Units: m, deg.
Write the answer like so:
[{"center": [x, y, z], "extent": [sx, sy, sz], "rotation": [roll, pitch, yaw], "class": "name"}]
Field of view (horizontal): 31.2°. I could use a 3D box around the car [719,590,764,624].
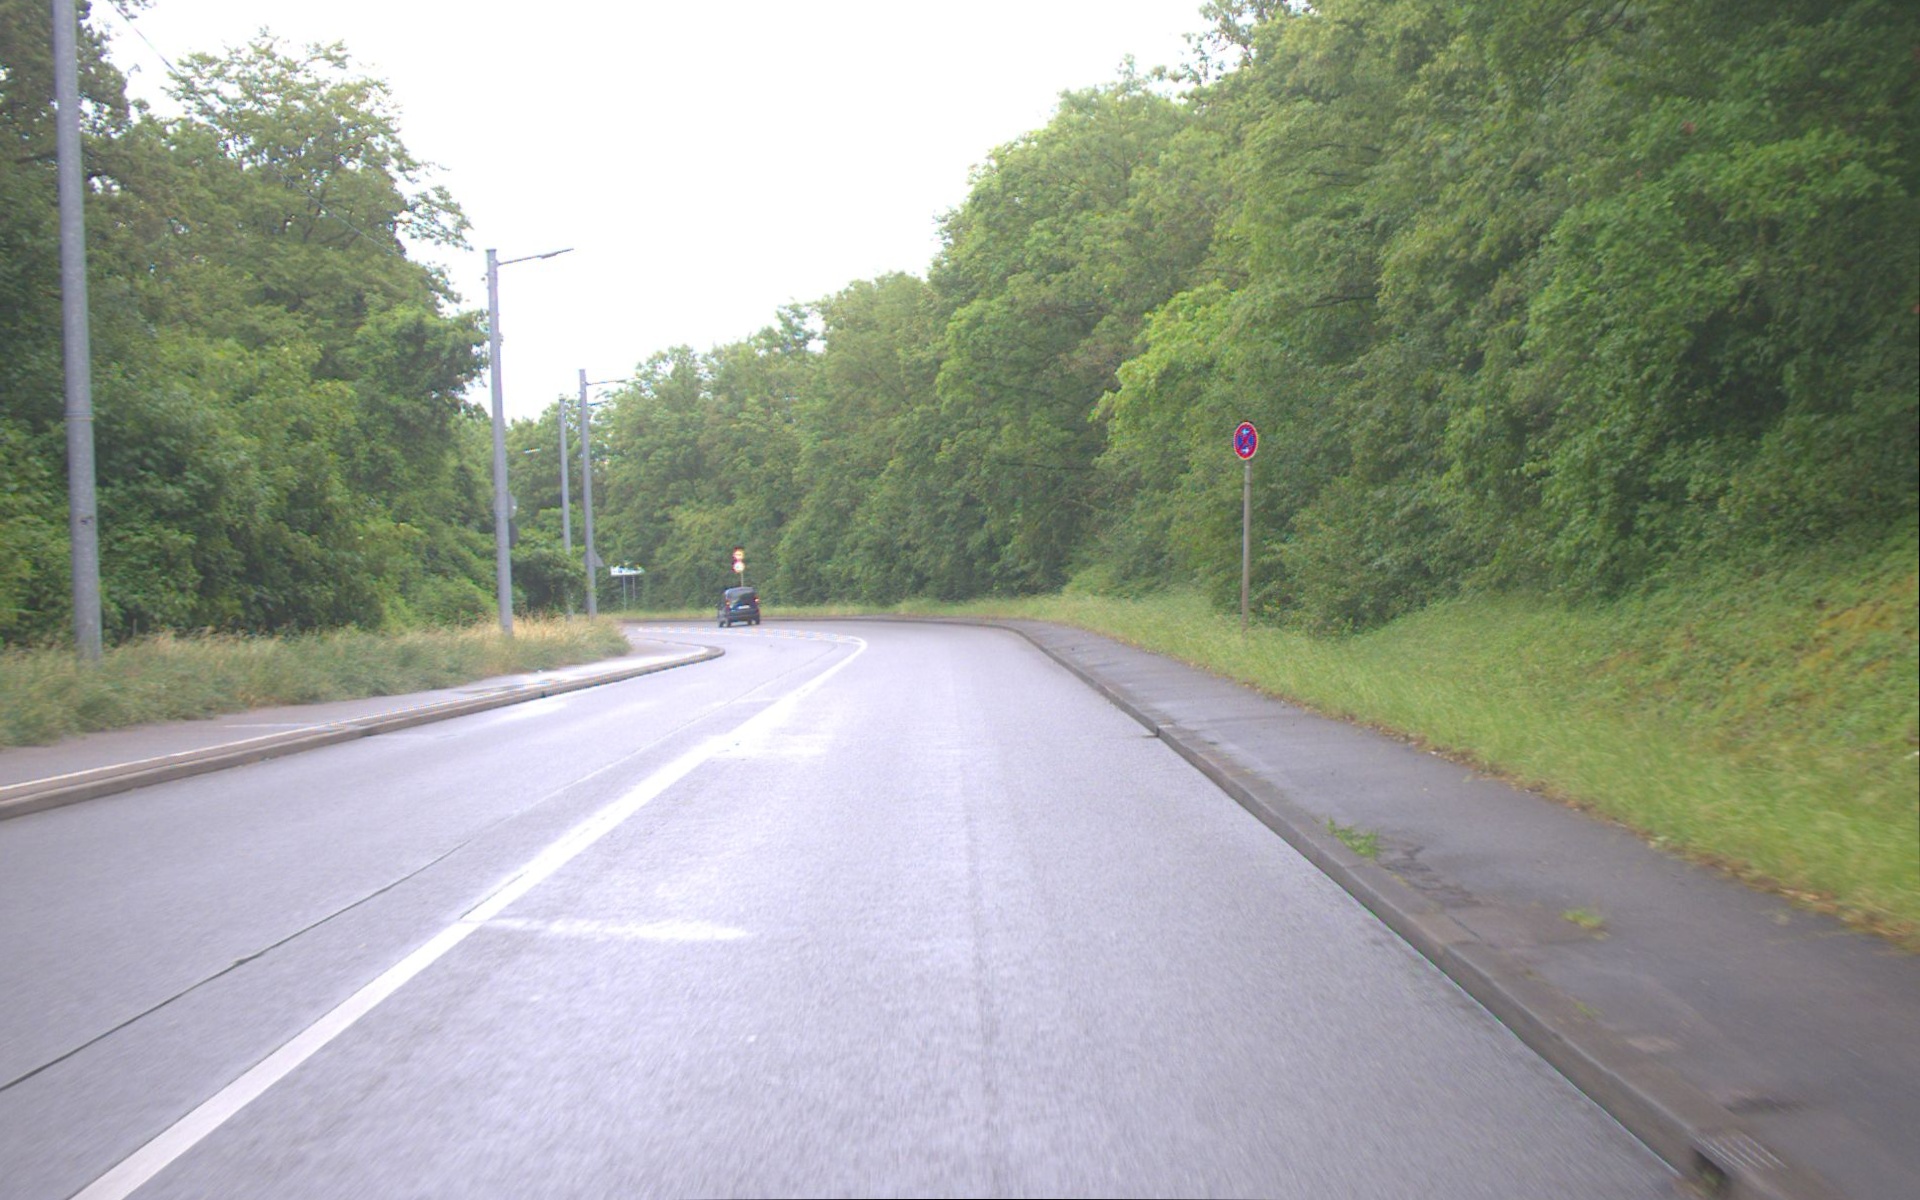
[{"center": [-10.600, 0.349, 166.376], "extent": [1.867, 1.590, 4.001], "rotation": [2, -1, -7], "class": "car"}]
